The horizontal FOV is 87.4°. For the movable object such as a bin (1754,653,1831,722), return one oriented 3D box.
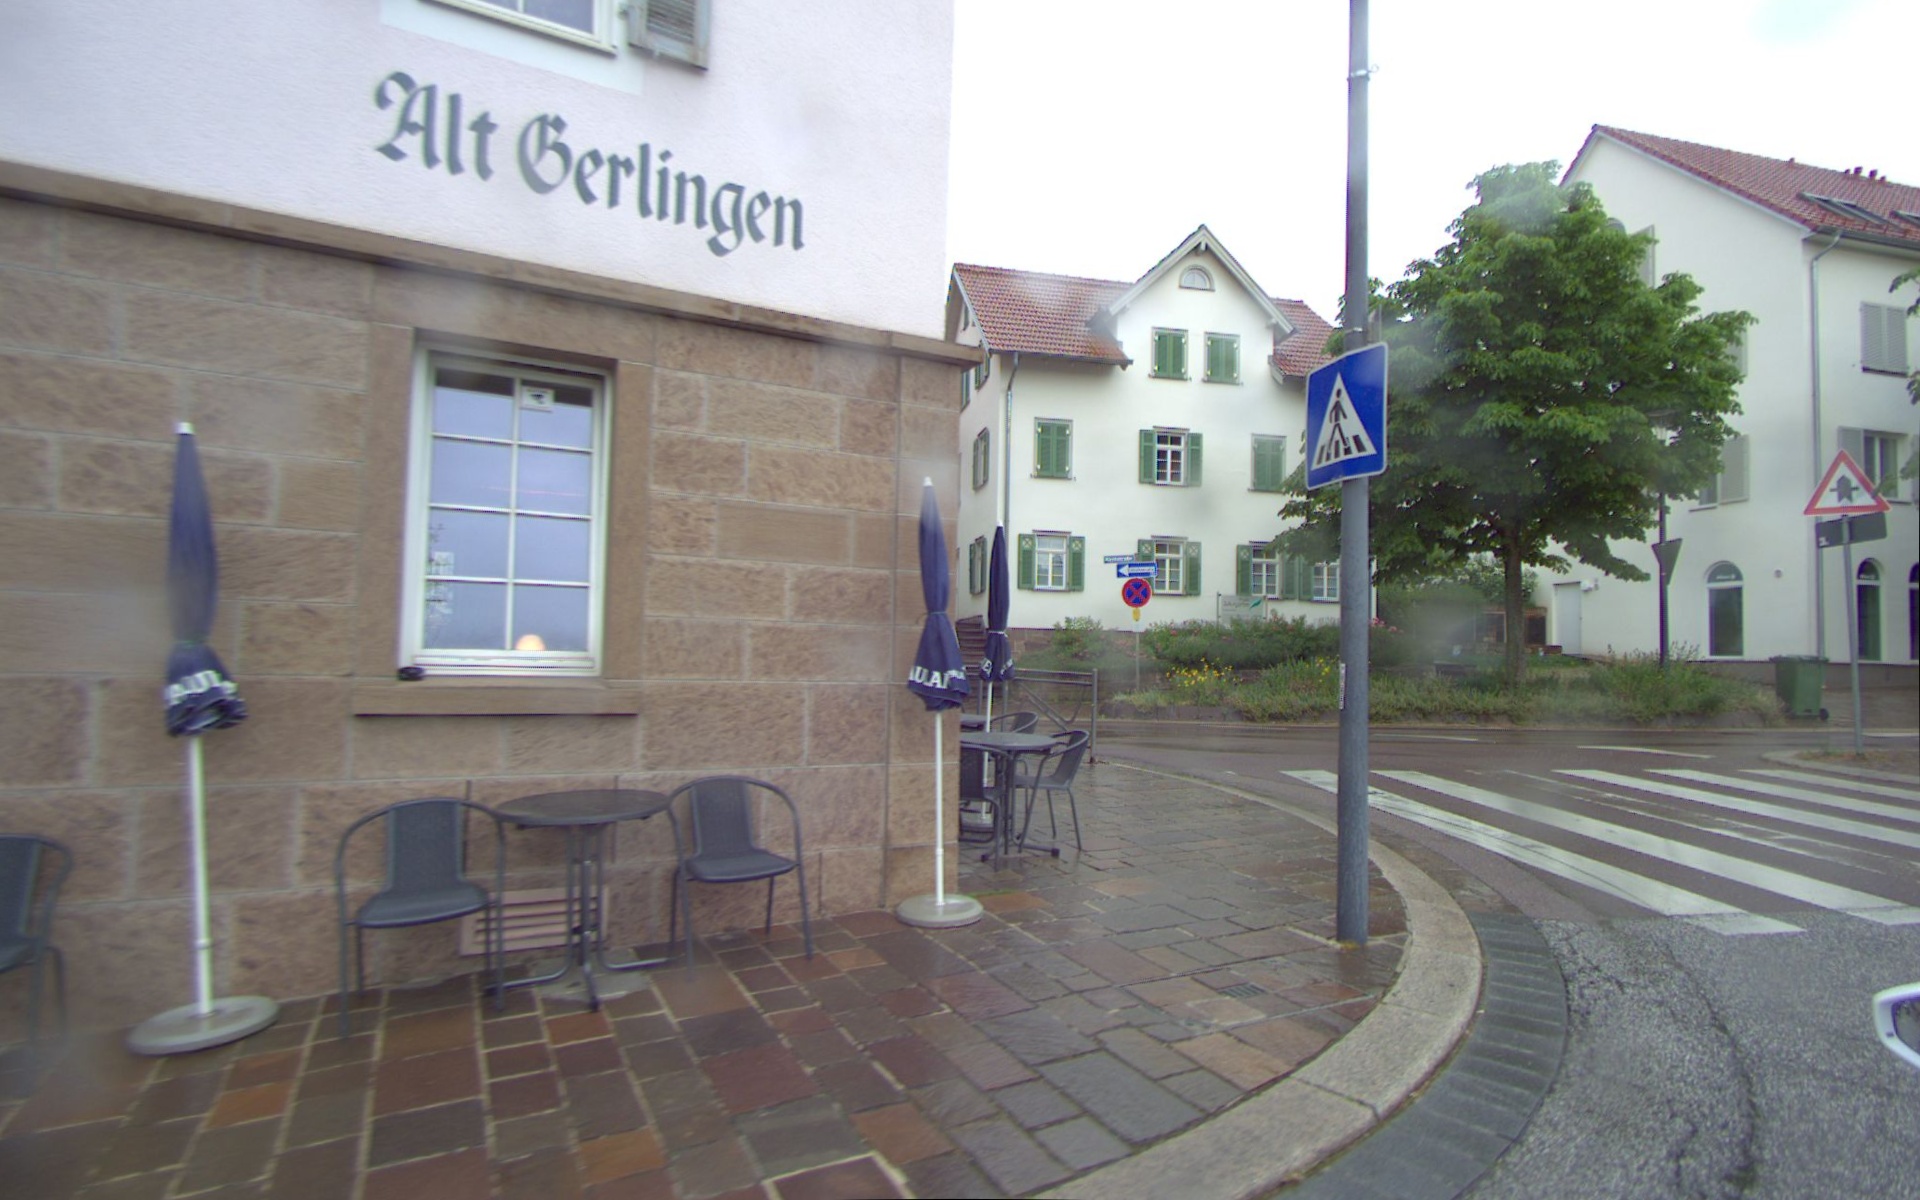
[{"bbox_3d":[14.129,1.474,17.059,0.638,1.139,0.739,1,-3,-9],"label":"movable object such as a bin"}]

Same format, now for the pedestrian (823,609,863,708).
[{"bbox_3d":[-2.438,1.221,21.014,0.746,2.039,0.653,0,-3,1],"label":"pedestrian"}]

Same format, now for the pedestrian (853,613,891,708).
[{"bbox_3d":[-1.907,1.325,21.948,0.746,2.039,0.653,0,-3,1],"label":"pedestrian"}]
